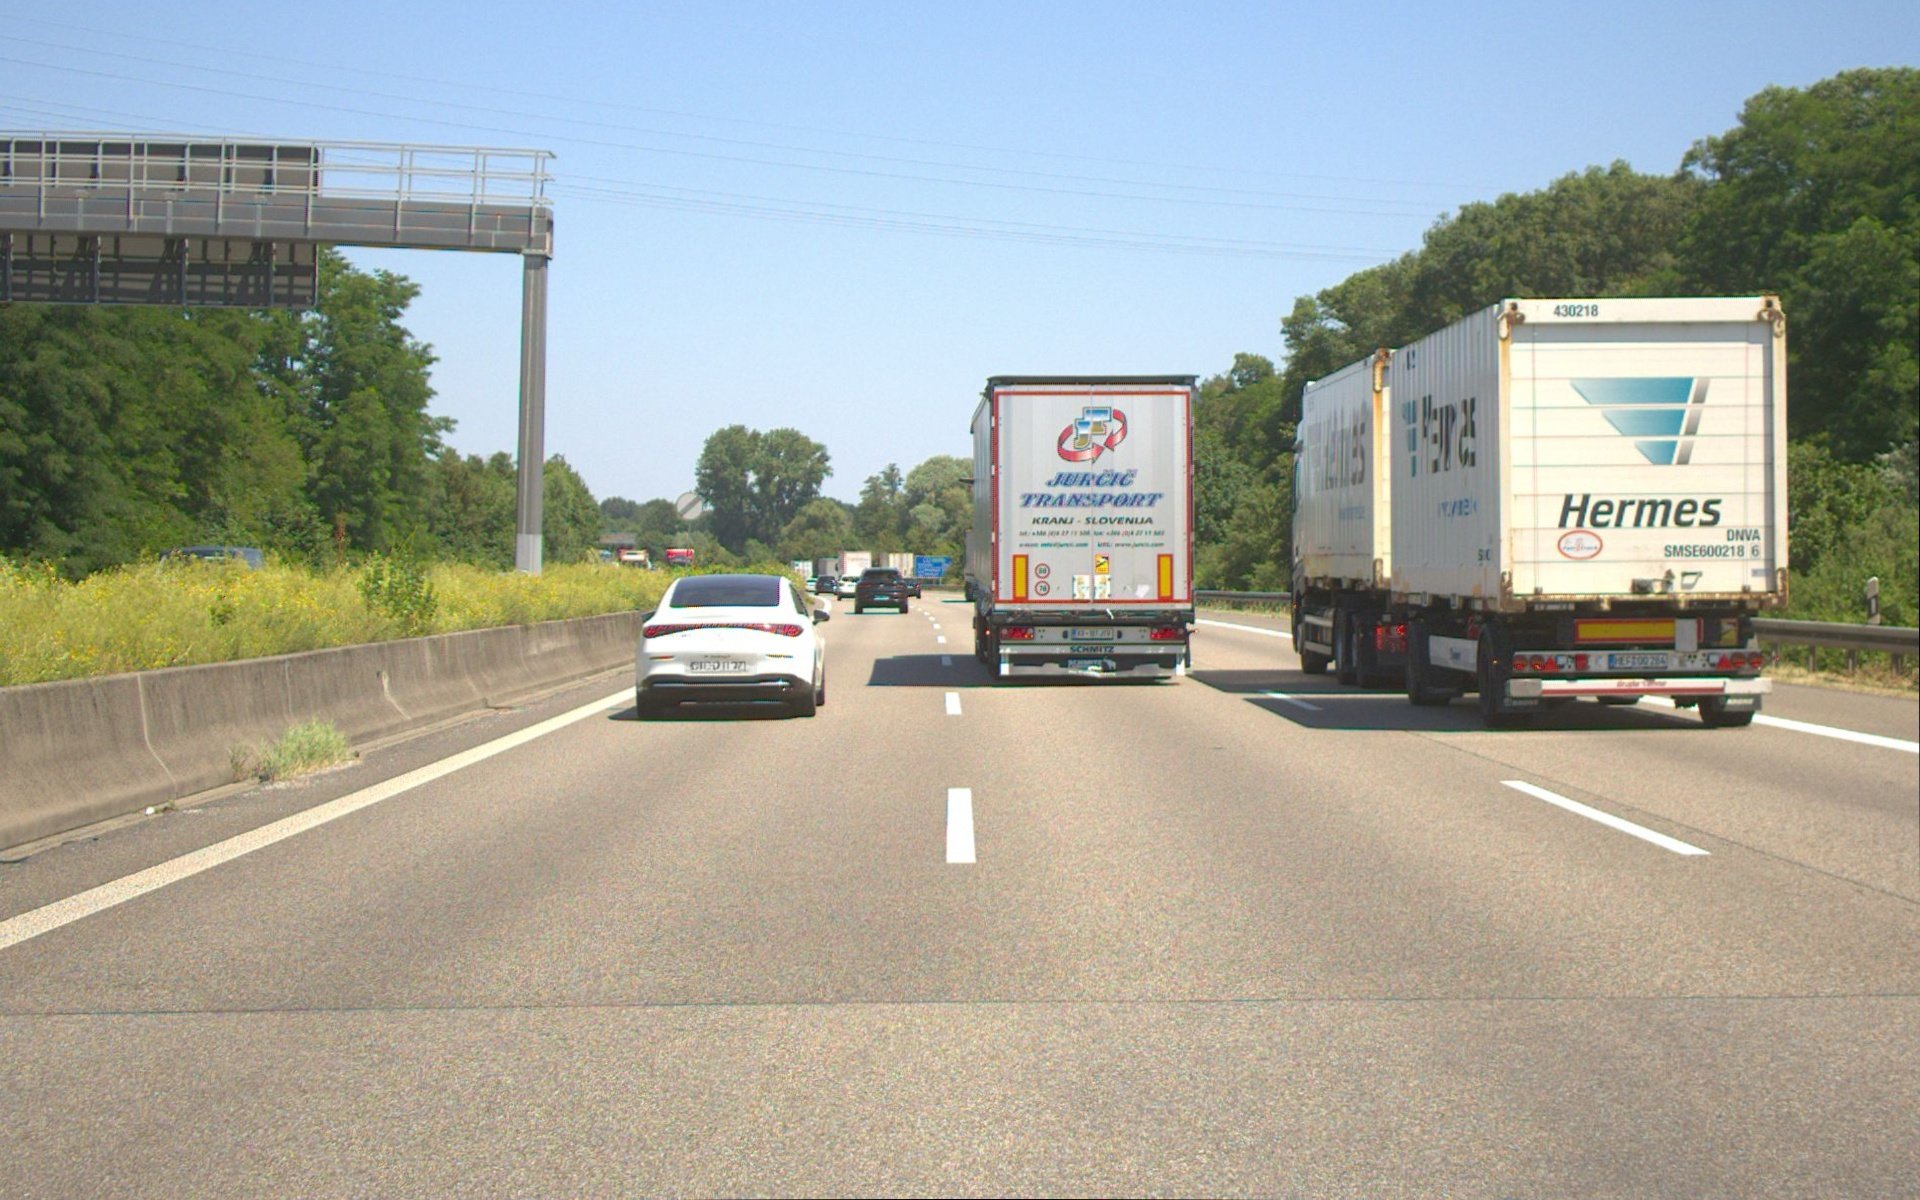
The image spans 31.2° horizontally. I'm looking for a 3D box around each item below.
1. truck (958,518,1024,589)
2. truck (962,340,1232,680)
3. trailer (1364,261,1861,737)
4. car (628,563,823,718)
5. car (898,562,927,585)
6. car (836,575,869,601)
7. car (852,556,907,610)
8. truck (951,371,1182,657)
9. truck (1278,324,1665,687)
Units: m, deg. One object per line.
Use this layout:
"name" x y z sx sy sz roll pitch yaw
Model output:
"truck" 1.709 -2.671 196.962 3.444 3.976 9.516 0 1 -1
"truck" 1.696 -1.192 46.697 3.229 4.187 8.466 0 1 -1
"trailer" 6.197 -0.960 34.406 3.367 4.128 9.091 0 1 1
"car" -2.420 0.373 36.559 1.767 1.443 5.109 0 2 -1
"car" -3.258 -1.823 234.925 1.993 1.590 4.000 0 1 -1
"car" -6.749 -0.752 216.214 1.993 1.590 4.000 0 1 -1
"car" -3.017 -0.663 129.072 1.993 1.867 4.001 0 2 -1
"truck" 1.557 -1.303 53.699 3.218 4.190 6.551 0 1 -1
"truck" 6.207 -1.103 43.774 3.325 4.039 10.954 0 1 0
